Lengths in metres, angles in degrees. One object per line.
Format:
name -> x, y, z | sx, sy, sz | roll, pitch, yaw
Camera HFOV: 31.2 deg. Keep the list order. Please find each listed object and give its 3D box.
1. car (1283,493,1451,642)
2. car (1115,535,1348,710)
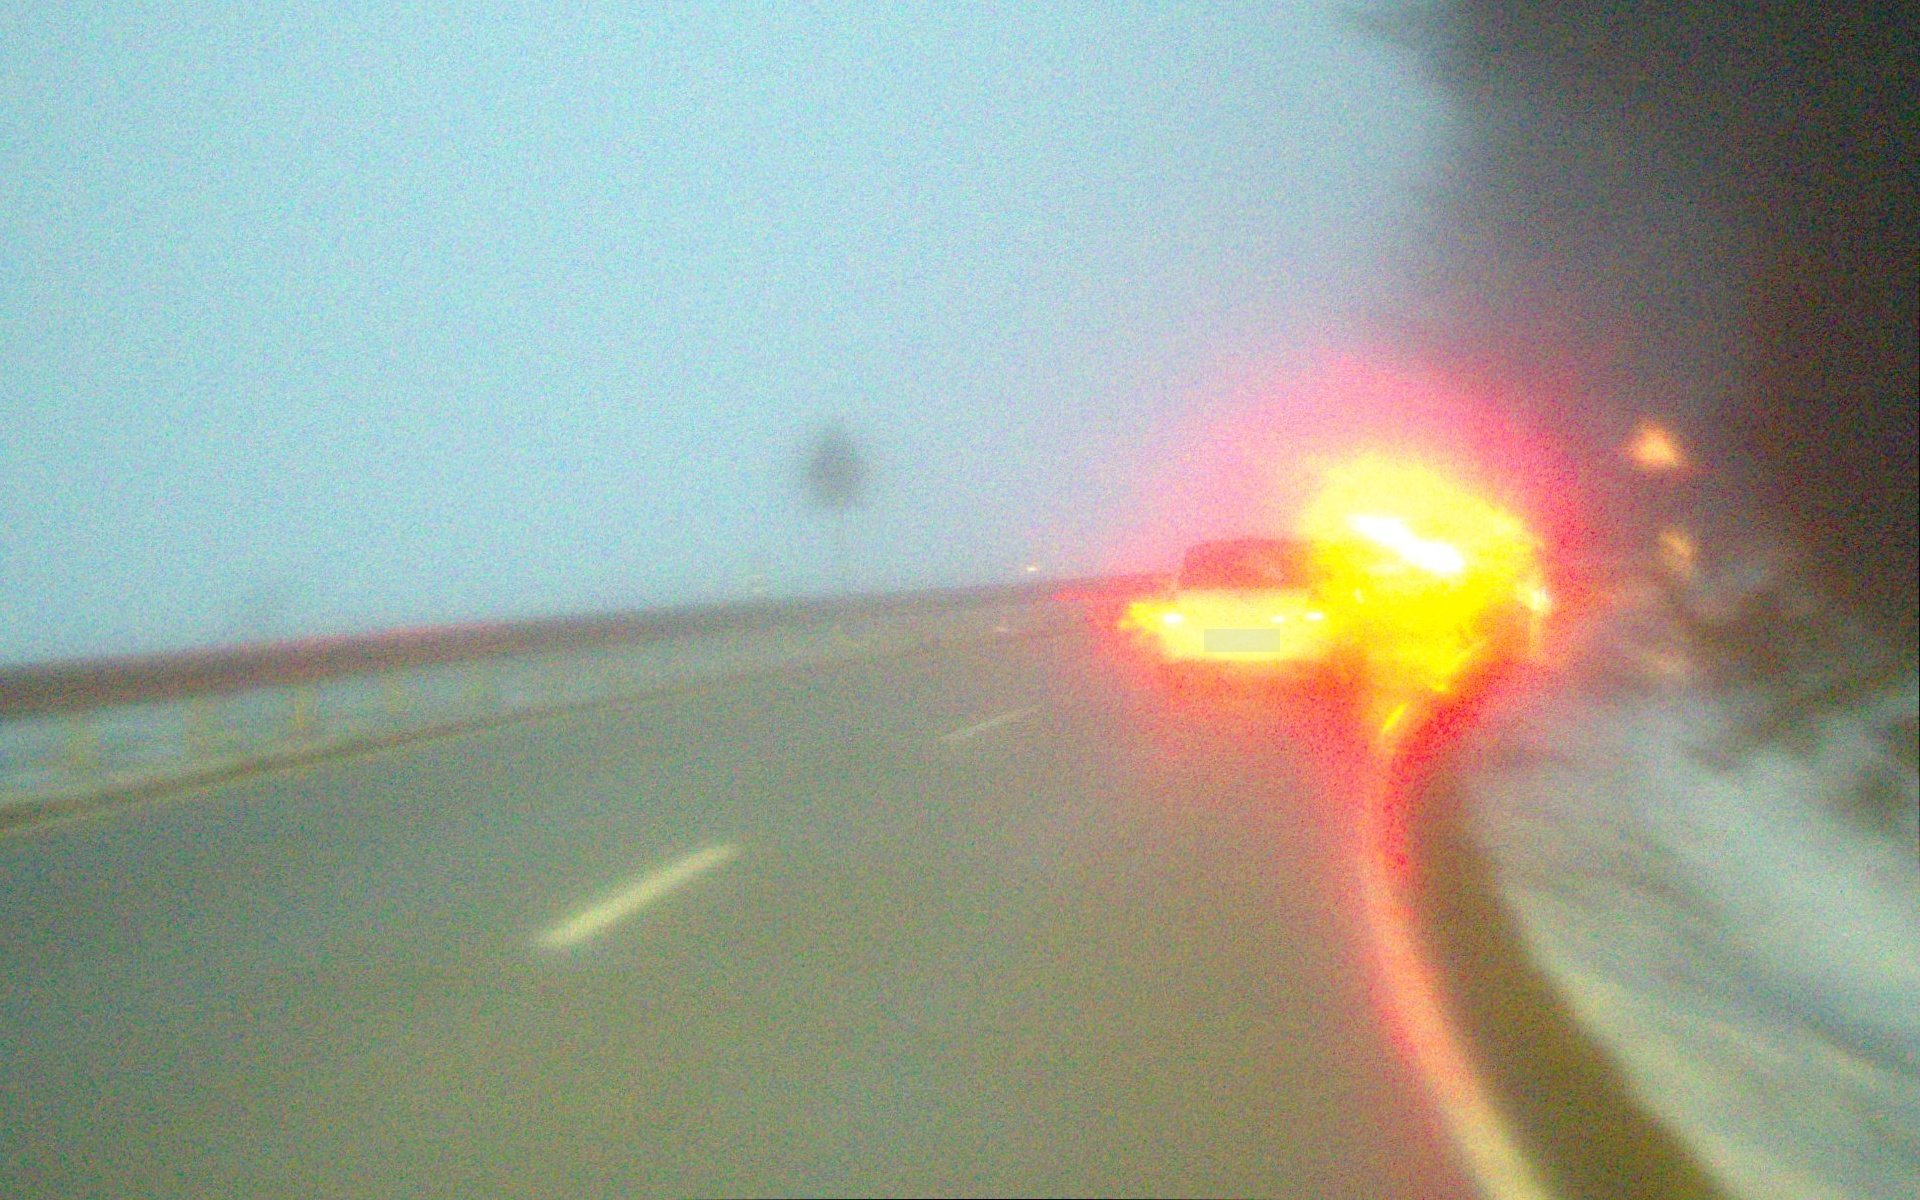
car -> 5.183, -0.434, 43.386 | 1.994, 1.776, 3.999 | -1, 1, 8
car -> 2.585, 0.164, 31.900 | 1.946, 1.376, 3.999 | -2, 2, 7
